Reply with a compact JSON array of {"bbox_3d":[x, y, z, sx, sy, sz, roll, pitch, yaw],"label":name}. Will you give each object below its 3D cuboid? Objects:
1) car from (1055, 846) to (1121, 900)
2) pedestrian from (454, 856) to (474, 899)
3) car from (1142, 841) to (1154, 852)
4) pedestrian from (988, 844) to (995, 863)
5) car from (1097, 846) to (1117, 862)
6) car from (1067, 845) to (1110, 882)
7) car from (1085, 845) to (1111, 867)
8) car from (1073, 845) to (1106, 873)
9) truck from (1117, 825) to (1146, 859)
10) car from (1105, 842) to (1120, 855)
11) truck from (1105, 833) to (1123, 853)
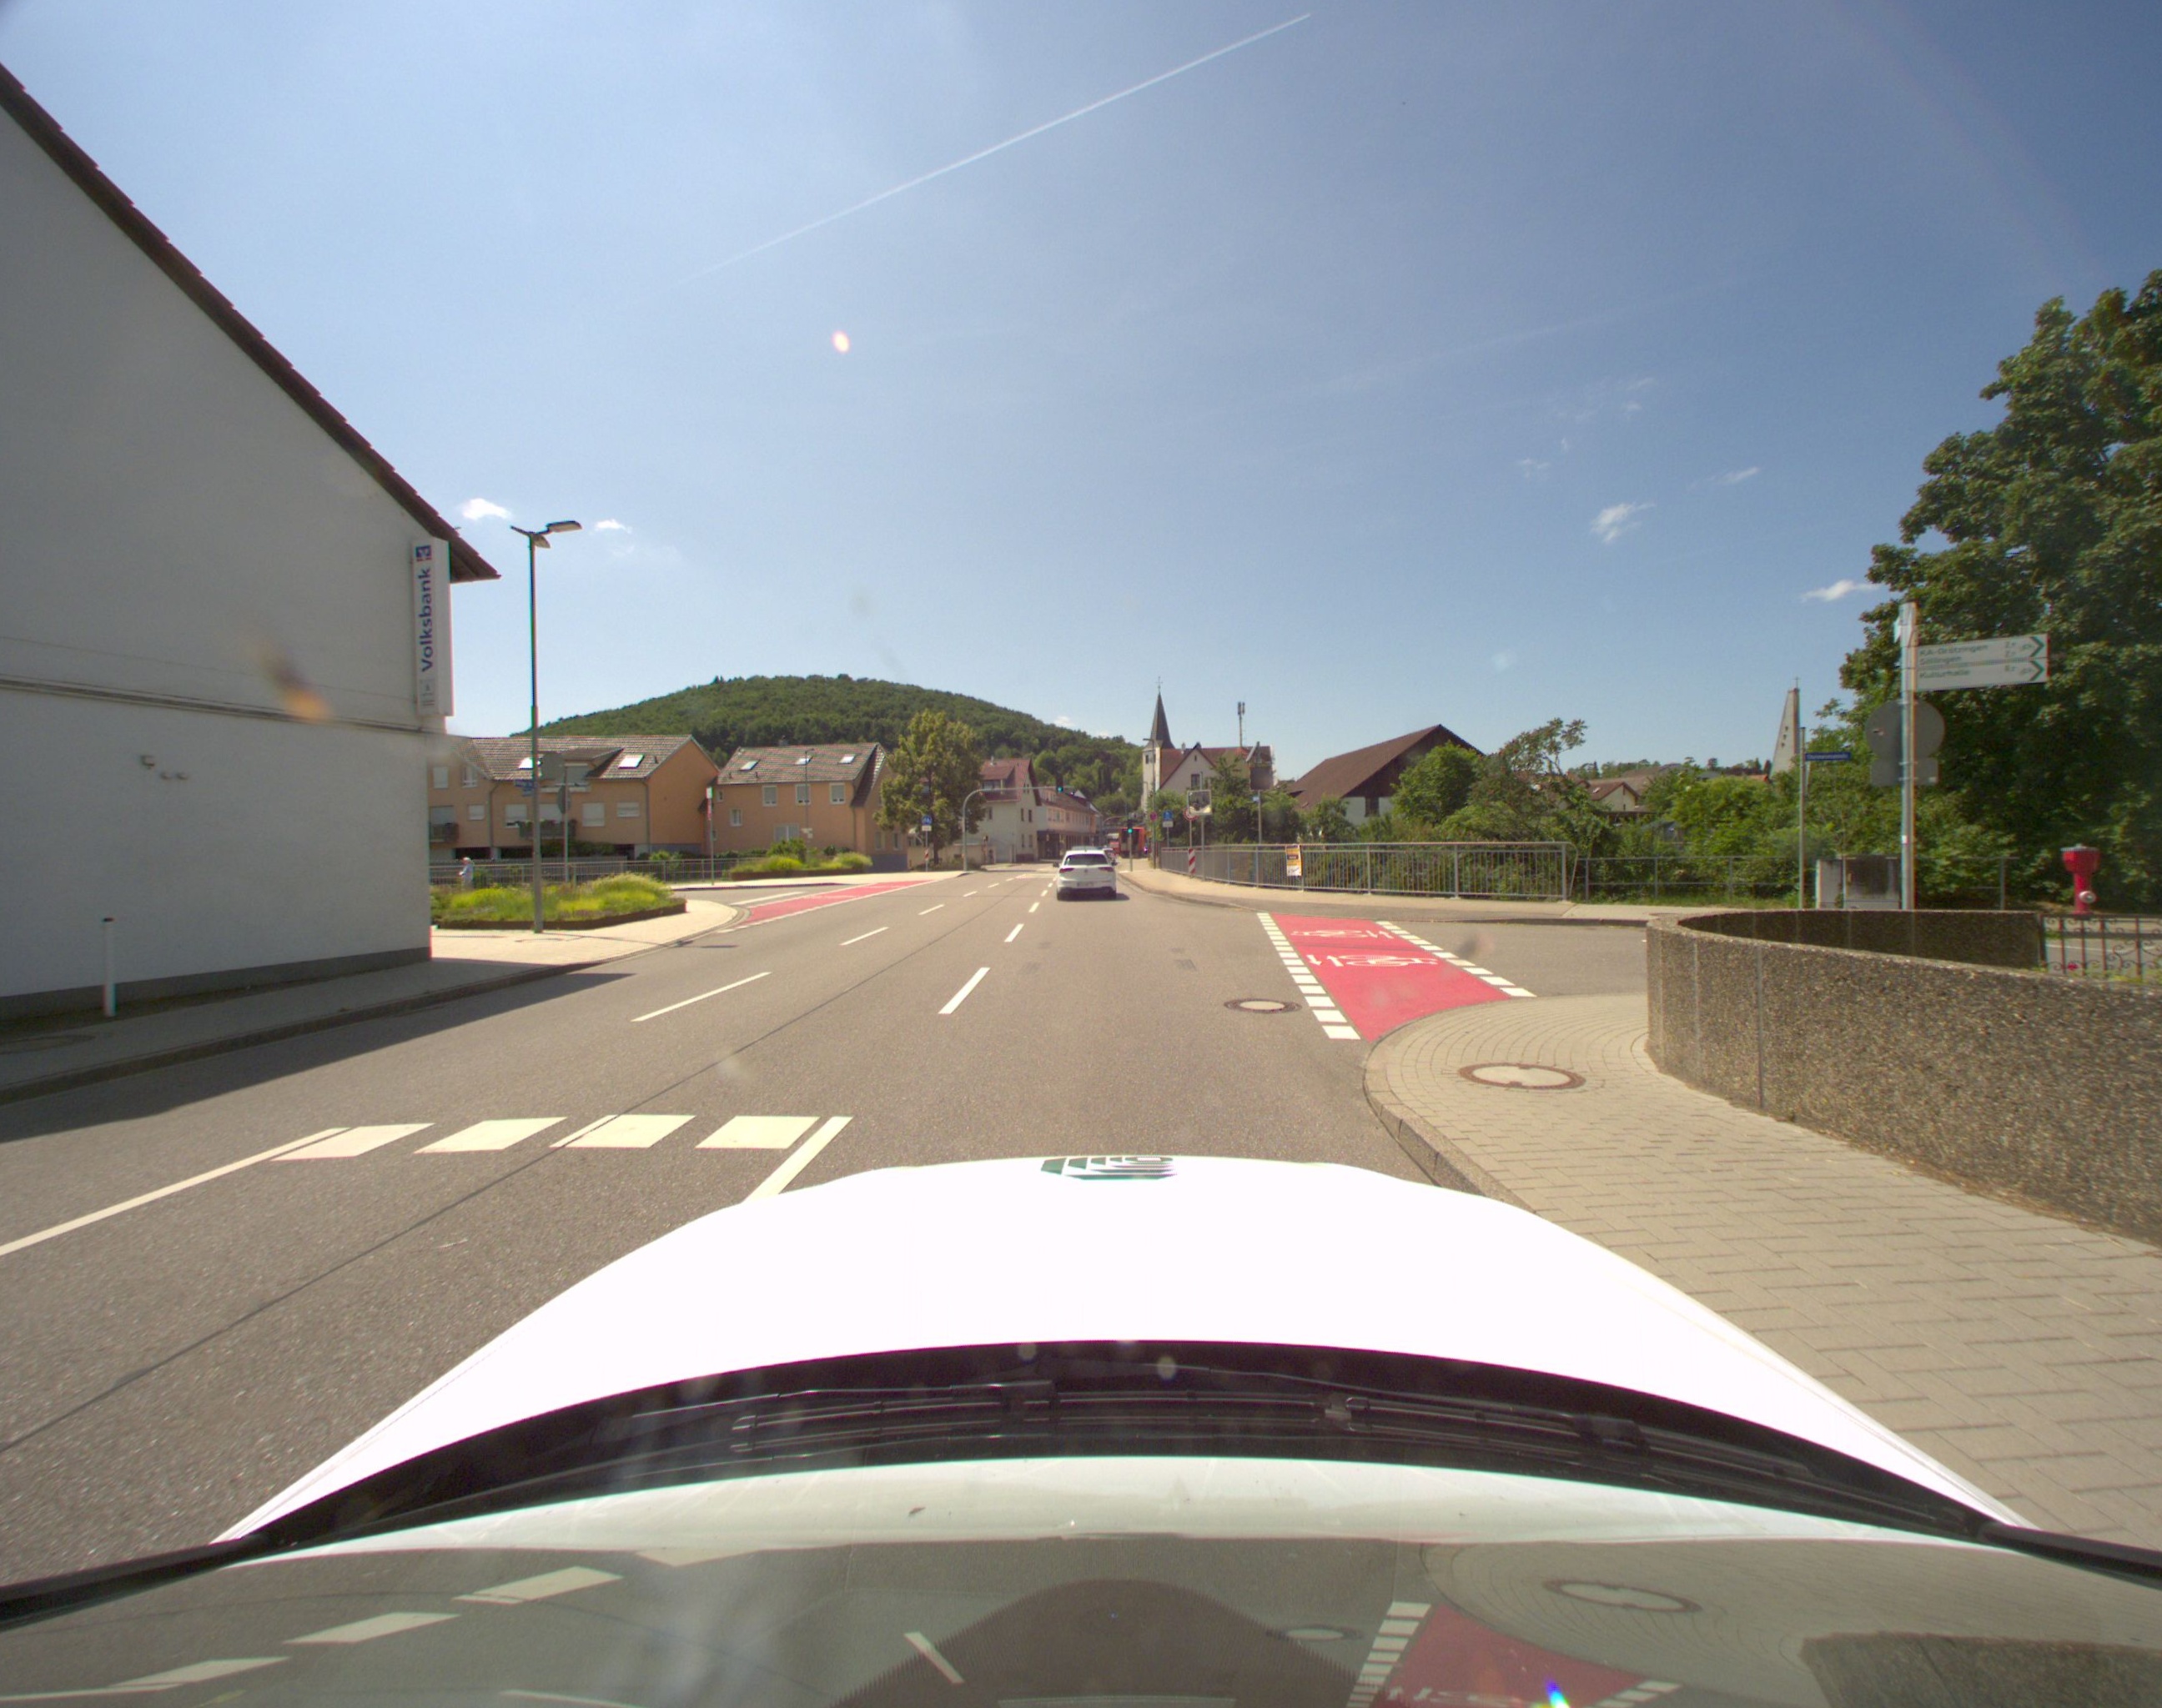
[{"bbox_3d":[0.296,0.545,25.026,1.807,1.519,4.004,0,0,4],"label":"car"},{"bbox_3d":[-25.748,0.966,33.965,0.617,1.748,0.501,-1,0,-36],"label":"pedestrian"},{"bbox_3d":[10.146,-1.118,123.748,1.807,1.519,4.004,-2,0,4],"label":"car"},{"bbox_3d":[-8.710,-0.043,79.542,0.430,1.764,0.560,-1,0,22],"label":"pedestrian"},{"bbox_3d":[2.729,0.030,85.037,1.807,1.519,4.004,-2,0,4],"label":"car"},{"bbox_3d":[0.404,0.427,39.172,1.807,1.628,4.004,-2,0,4],"label":"car"},{"bbox_3d":[1.417,0.175,66.505,1.807,1.628,4.004,-2,0,4],"label":"car"},{"bbox_3d":[0.563,0.286,51.619,1.807,1.628,4.004,-2,0,4],"label":"car"},{"bbox_3d":[6.811,-1.572,108.558,3.350,4.170,9.535,-2,0,6],"label":"truck"},{"bbox_3d":[4.538,-0.715,115.808,1.985,1.705,4.316,-2,0,4],"label":"car"},{"bbox_3d":[5.659,-1.801,139.366,2.489,3.235,6.051,-2,0,6],"label":"truck"}]
